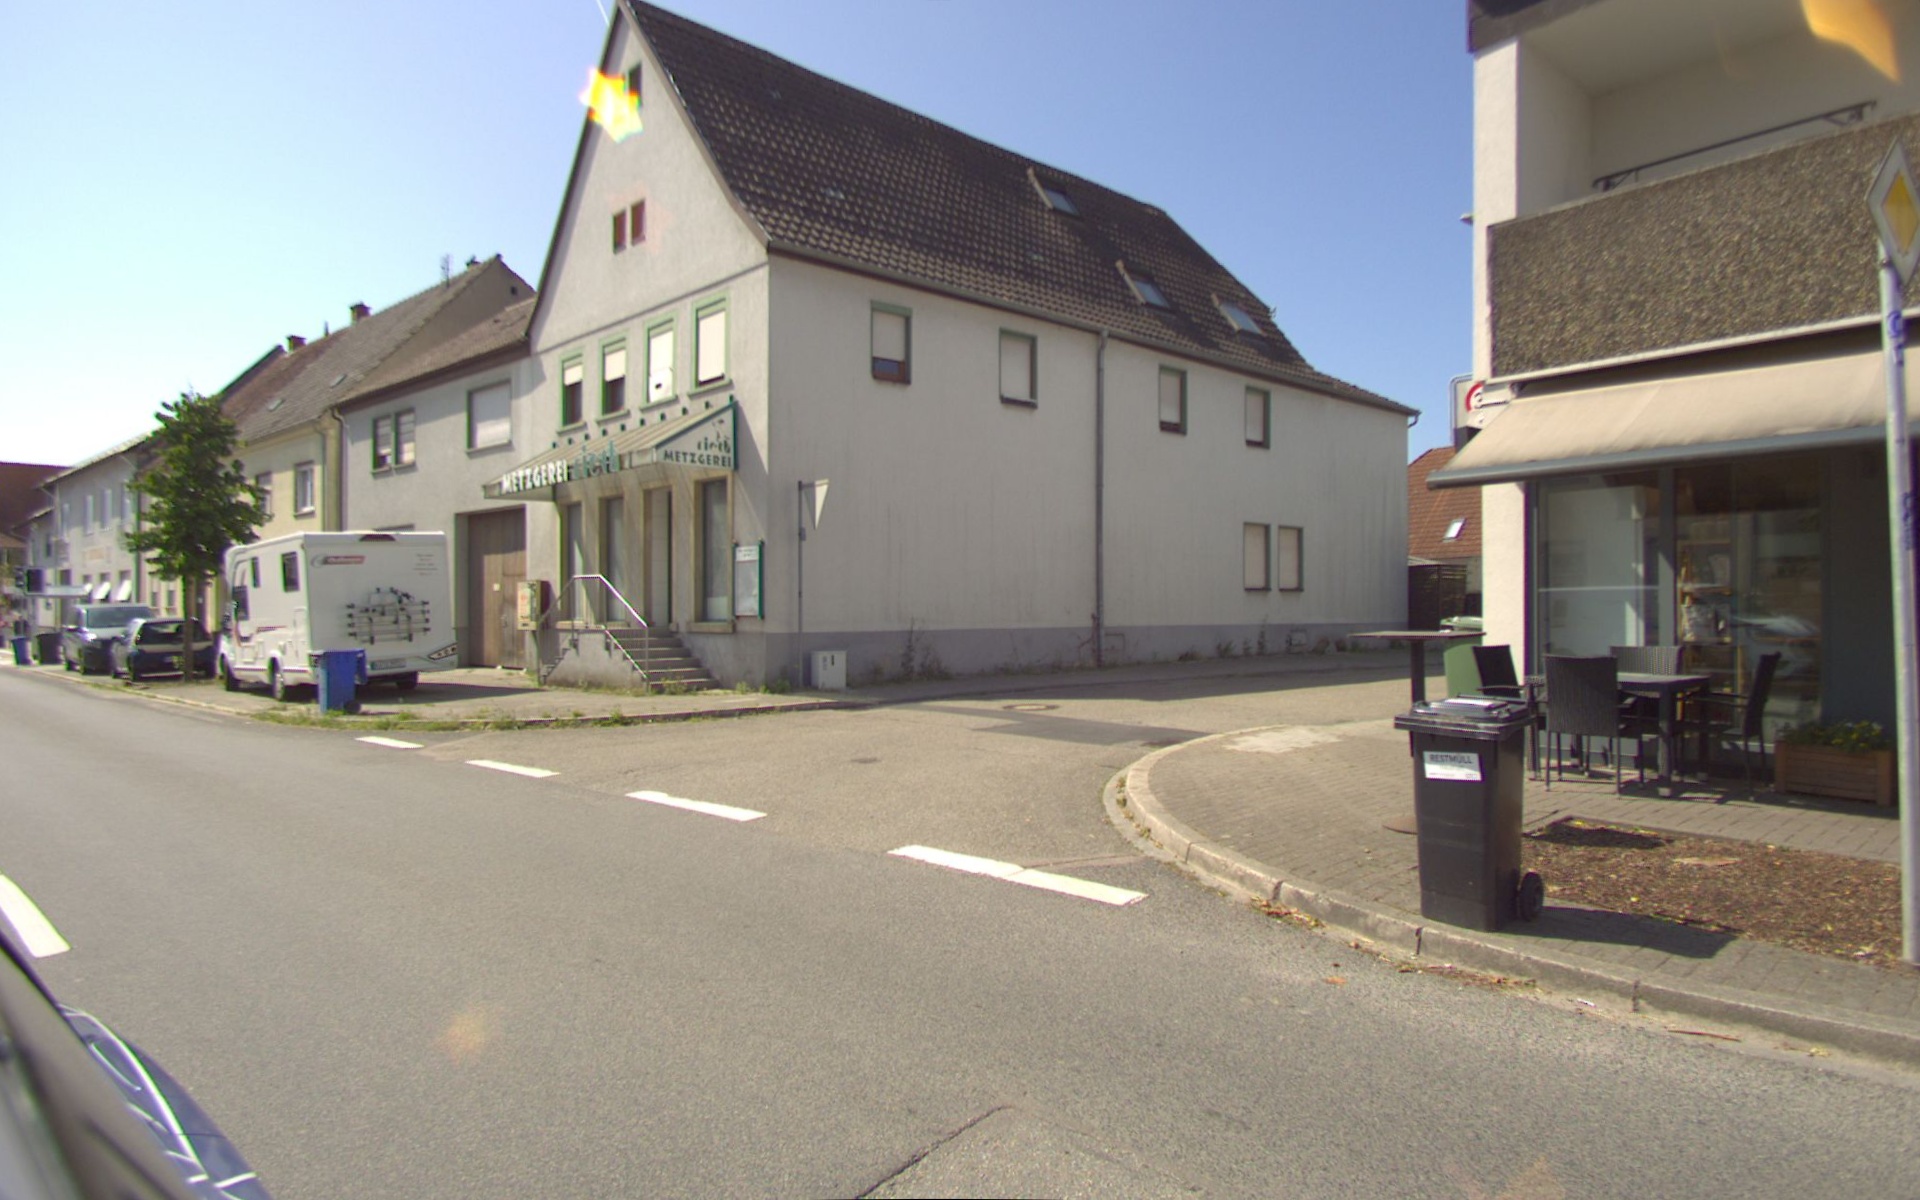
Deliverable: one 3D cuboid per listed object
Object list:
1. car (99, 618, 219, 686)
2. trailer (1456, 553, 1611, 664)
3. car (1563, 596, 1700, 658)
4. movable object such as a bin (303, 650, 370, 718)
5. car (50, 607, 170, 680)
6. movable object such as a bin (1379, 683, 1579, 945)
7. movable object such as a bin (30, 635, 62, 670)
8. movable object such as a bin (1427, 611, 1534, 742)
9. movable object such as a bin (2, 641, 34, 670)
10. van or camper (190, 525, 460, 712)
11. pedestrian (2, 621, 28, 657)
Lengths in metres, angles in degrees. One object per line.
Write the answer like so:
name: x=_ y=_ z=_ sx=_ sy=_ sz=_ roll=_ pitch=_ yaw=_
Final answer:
car: x=-19.557 y=1.219 z=24.663 sx=3.616 sy=1.493 sz=1.668 roll=-1 pitch=-1 yaw=41
trailer: x=15.025 y=0.191 z=26.472 sx=3.934 sy=2.693 sz=2.063 roll=0 pitch=0 yaw=-36
car: x=19.763 y=0.766 z=29.757 sx=3.933 sy=1.697 sz=2.005 roll=0 pitch=-1 yaw=-35
movable object such as a bin: x=-8.642 y=1.147 z=14.022 sx=0.613 sy=0.878 sz=0.636 roll=-1 pitch=-1 yaw=40
car: x=-23.825 y=1.153 z=28.309 sx=4.956 sy=1.862 sz=1.972 roll=-1 pitch=-1 yaw=43
movable object such as a bin: x=2.196 y=0.845 z=4.275 sx=0.613 sy=0.931 sz=0.636 roll=-2 pitch=-1 yaw=40
movable object such as a bin: x=-29.825 y=1.706 z=33.023 sx=0.549 sy=1.075 sz=0.710 roll=-1 pitch=-1 yaw=39
movable object such as a bin: x=4.824 y=0.683 z=9.380 sx=0.663 sy=1.146 sz=0.646 roll=0 pitch=-1 yaw=-38
movable object such as a bin: x=-31.227 y=1.819 z=33.536 sx=0.549 sy=0.919 sz=0.710 roll=-1 pitch=-1 yaw=39
van or camper: x=-12.191 y=0.340 z=19.128 sx=7.064 sy=2.927 sz=2.420 roll=-1 pitch=-1 yaw=41
pedestrian: x=-40.630 y=1.678 z=43.525 sx=0.580 sy=1.543 sz=0.743 roll=-1 pitch=-1 yaw=40
